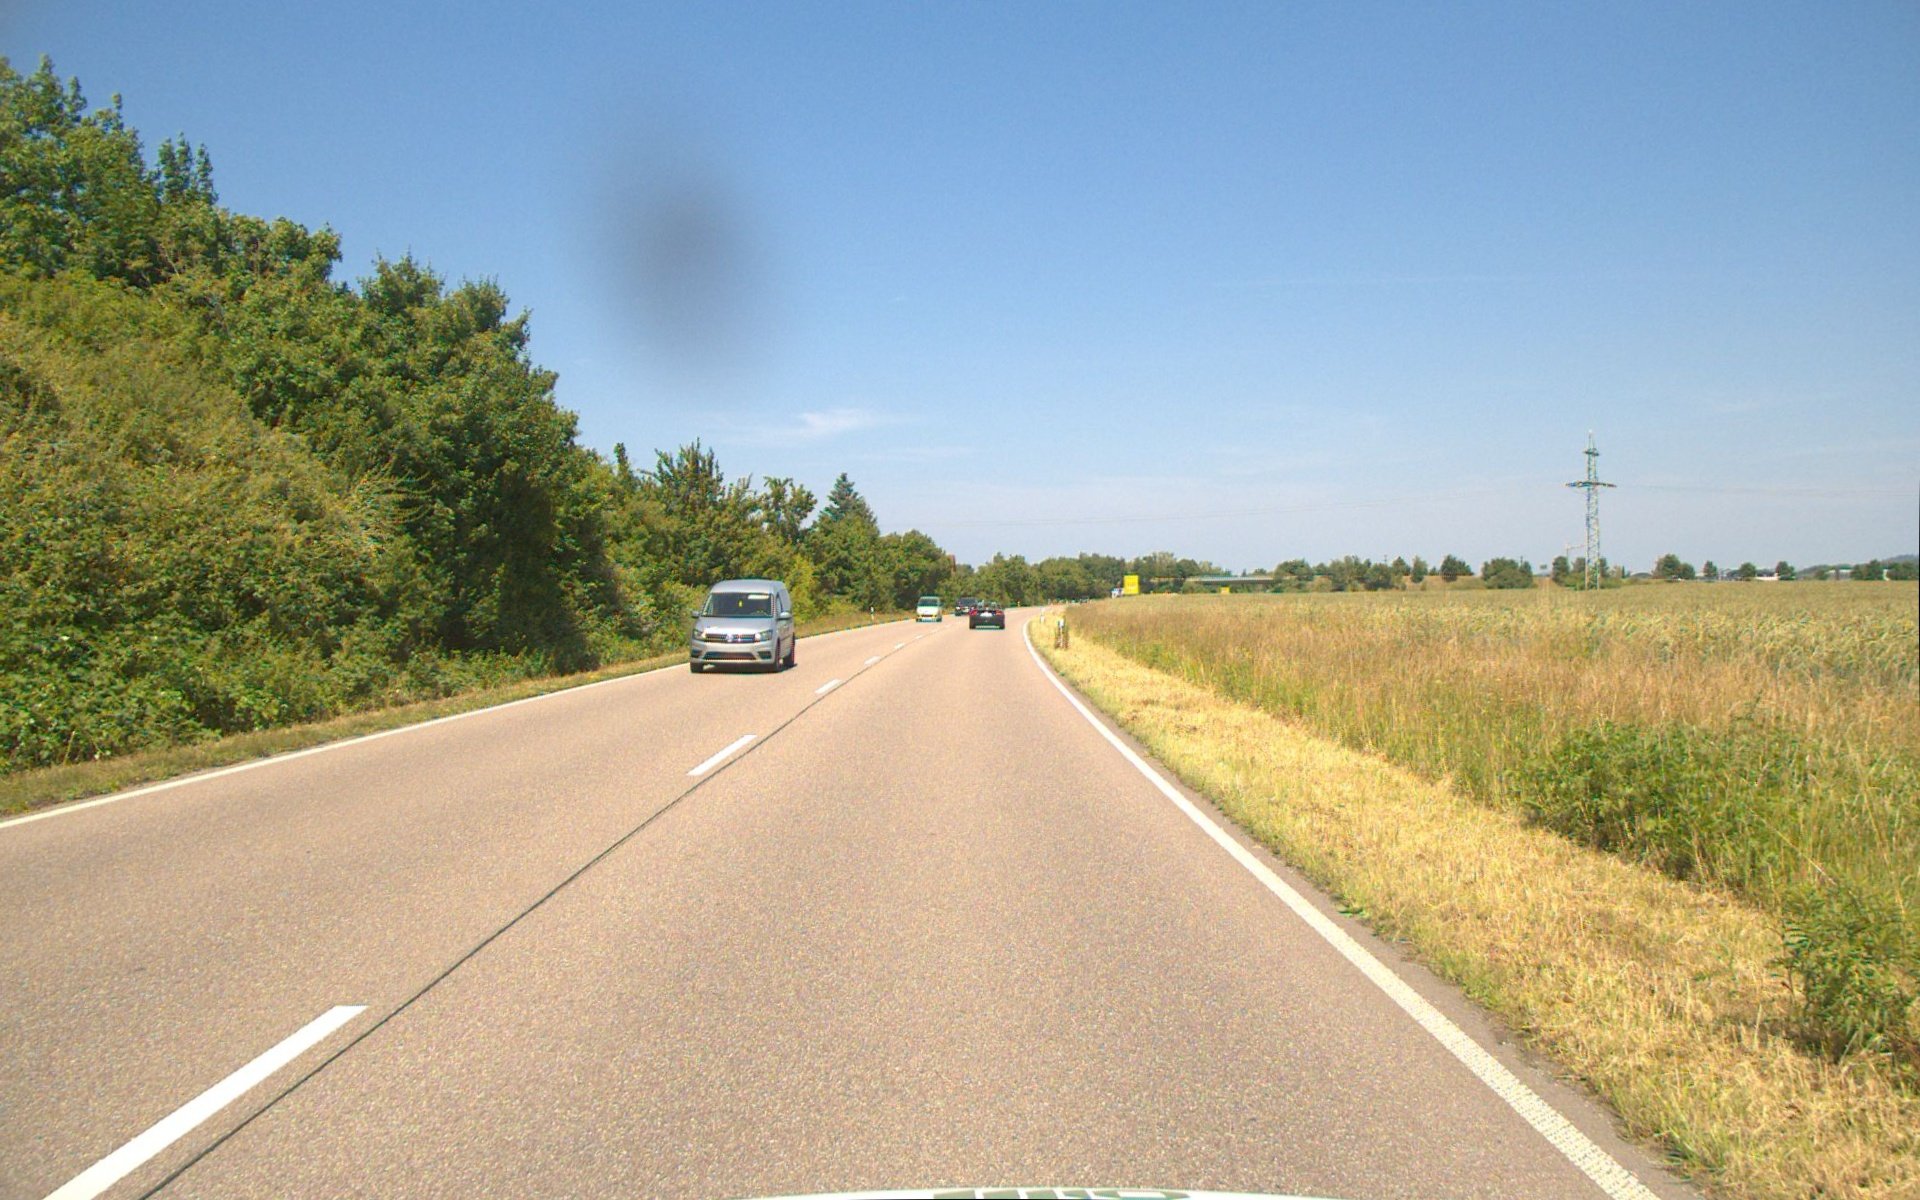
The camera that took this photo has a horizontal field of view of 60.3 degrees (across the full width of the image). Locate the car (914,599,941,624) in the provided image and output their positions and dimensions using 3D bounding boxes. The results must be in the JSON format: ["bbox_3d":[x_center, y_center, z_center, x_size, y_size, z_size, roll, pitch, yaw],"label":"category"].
[{"bbox_3d":[-2.012,0.722,103.783,1.465,1.521,3.833,0,0,2],"label":"car"}]

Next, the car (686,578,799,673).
[{"bbox_3d":[-4.437,0.489,34.341,1.727,1.851,4.803,0,0,0],"label":"car"}]

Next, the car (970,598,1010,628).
[{"bbox_3d":[1.518,0.635,81.949,1.776,1.466,4.002,1,0,4],"label":"car"}]

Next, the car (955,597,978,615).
[{"bbox_3d":[0.553,0.501,136.982,1.763,1.476,4.533,0,0,1],"label":"car"}]
